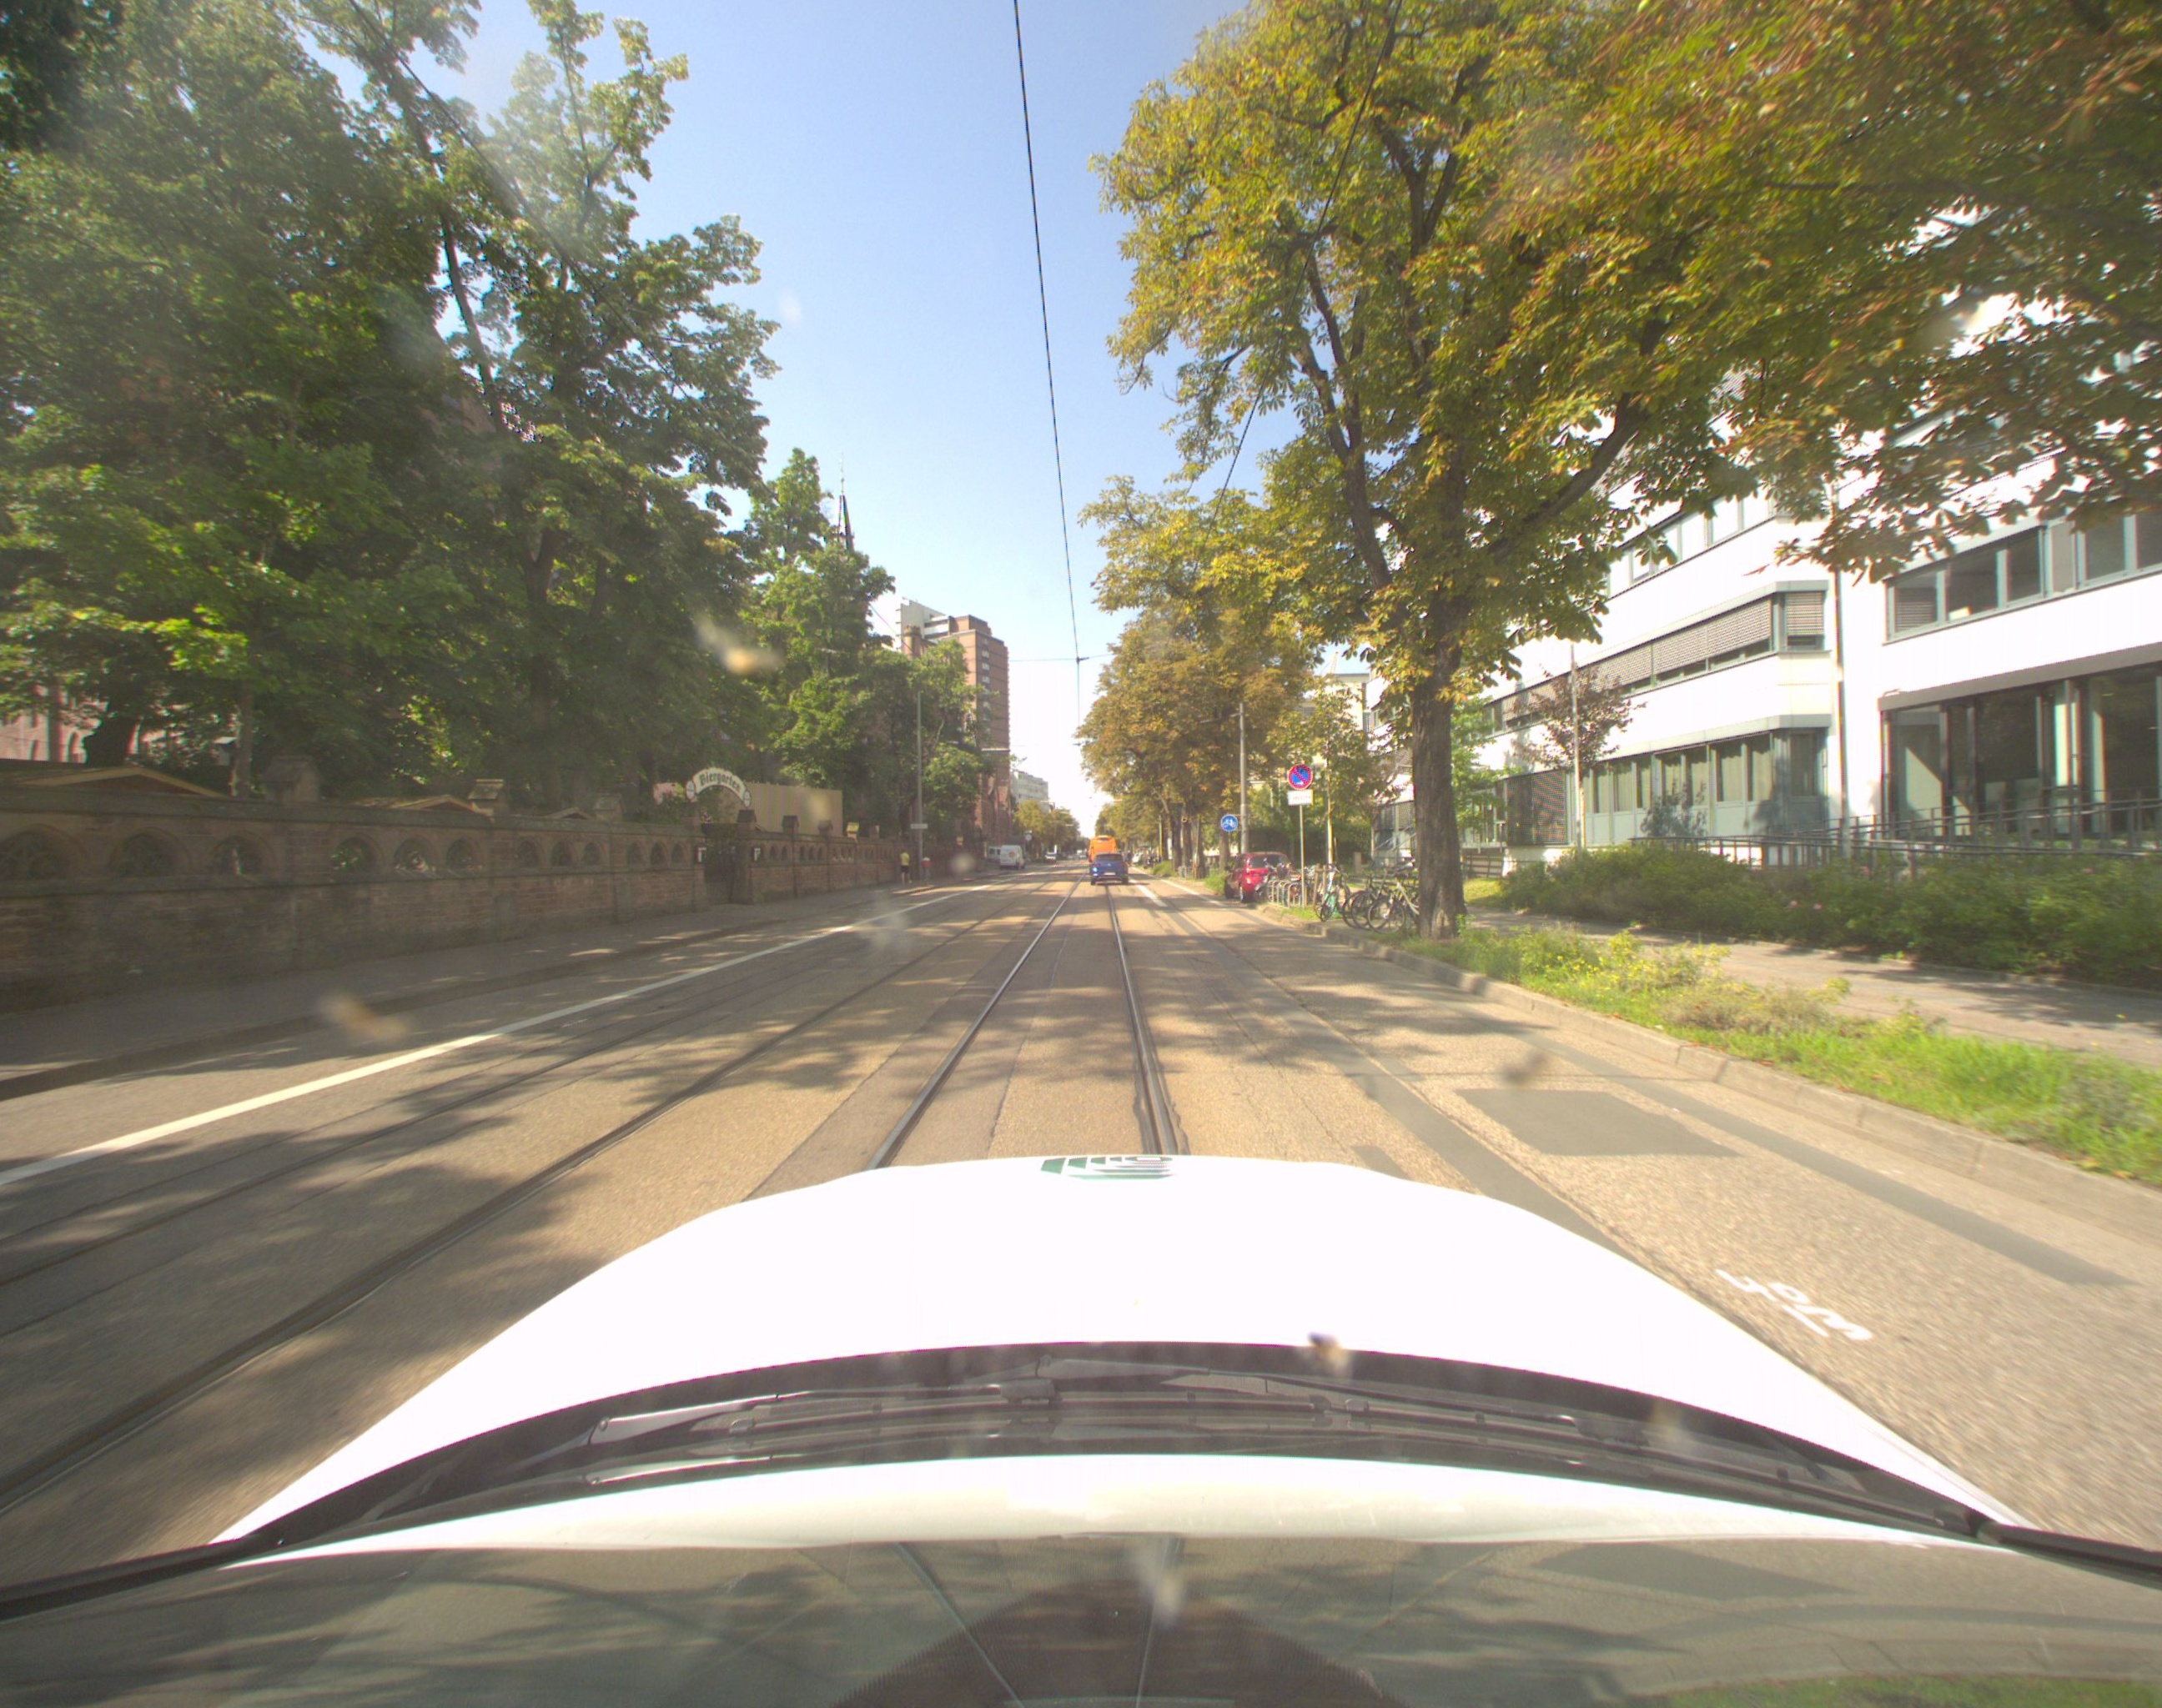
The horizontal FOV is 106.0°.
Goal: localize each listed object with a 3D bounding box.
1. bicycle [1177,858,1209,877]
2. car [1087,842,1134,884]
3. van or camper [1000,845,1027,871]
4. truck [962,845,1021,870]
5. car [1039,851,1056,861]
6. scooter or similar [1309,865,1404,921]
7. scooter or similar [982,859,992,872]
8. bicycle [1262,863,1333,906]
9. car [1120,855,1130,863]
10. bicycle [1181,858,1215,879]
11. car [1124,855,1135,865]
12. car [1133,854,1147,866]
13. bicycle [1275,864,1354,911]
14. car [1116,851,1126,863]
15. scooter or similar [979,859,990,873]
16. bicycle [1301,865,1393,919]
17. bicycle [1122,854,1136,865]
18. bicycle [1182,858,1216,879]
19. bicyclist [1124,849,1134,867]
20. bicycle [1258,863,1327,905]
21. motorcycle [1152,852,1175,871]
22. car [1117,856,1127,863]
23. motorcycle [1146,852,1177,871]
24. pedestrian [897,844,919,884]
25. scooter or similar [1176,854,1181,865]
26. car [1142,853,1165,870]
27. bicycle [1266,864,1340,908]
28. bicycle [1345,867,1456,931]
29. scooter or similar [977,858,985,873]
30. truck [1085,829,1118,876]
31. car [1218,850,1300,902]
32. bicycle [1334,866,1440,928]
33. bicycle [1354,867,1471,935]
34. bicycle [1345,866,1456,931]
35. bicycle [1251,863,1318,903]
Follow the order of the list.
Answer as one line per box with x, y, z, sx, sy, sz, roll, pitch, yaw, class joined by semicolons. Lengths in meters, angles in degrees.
6.428;0.787;46.892;1.765;1.050;0.540;-2;0;0;bicycle
1.422;0.434;40.078;2.128;1.858;5.569;-2;0;1;car
-7.243;0.387;87.500;2.104;2.675;5.959;-1;0;3;van or camper
-10.098;0.352;92.384;6.289;2.538;2.134;2;1;6;truck
-6.493;0.336;156.561;1.758;1.796;3.962;0;0;-29;car
5.716;0.806;16.937;1.765;1.071;0.540;-2;0;0;scooter or similar
-8.514;1.054;73.947;0.336;1.178;1.185;-1;0;26;scooter or similar
5.842;0.821;22.020;1.765;1.071;0.540;-2;0;0;bicycle
8.823;1.022;162.039;1.734;1.668;4.361;-1;0;0;car
6.388;0.779;44.412;1.765;1.050;0.540;-2;0;0;bicycle
8.224;1.071;138.847;1.736;1.556;4.218;-2;-1;2;car
7.838;0.818;108.912;1.653;1.481;4.218;-2;-1;2;car
5.746;0.816;20.108;1.765;1.071;0.540;-2;0;0;bicycle
9.431;0.700;193.158;1.987;2.755;5.760;-1;0;0;car
-8.496;1.046;71.640;0.336;1.178;1.185;-1;0;26;scooter or similar
5.710;0.808;17.525;1.765;1.071;0.540;-2;0;0;bicycle
5.073;0.578;86.259;1.396;1.134;4.001;-1;0;1;bicycle
6.328;0.778;43.735;1.765;1.050;0.540;-2;0;0;bicycle
5.107;0.407;86.270;1.028;1.812;1.016;-1;0;1;bicyclist
5.885;0.823;22.694;1.765;1.071;0.540;-2;0;0;bicycle
6.952;0.645;69.066;0.854;1.516;2.436;-1;0;-23;motorcycle
9.192;1.265;182.560;1.902;1.431;4.292;-1;0;0;car
6.645;0.644;67.369;2.423;1.516;0.858;-1;-1;39;motorcycle
-8.854;0.487;41.675;0.861;2.014;0.983;-1;0;-1;pedestrian
11.222;0.625;93.793;0.553;1.259;1.820;-1;0;4;scooter or similar
6.930;0.711;78.034;1.750;1.515;4.608;-2;0;0;car
5.772;0.819;21.210;1.765;1.071;0.540;-2;0;0;bicycle
5.754;0.798;14.703;1.765;1.071;0.540;-2;0;0;bicycle
-8.270;0.938;67.335;0.421;1.178;1.310;-1;0;-14;scooter or similar
1.479;-0.084;57.573;2.128;3.124;6.086;-2;0;1;truck
5.620;0.652;26.168;1.749;1.462;4.275;-2;0;1;car
5.736;0.800;15.304;1.765;1.071;0.540;-2;0;0;bicycle
5.690;0.796;14.007;1.765;1.071;0.540;-2;0;0;bicycle
5.765;0.798;14.725;1.765;1.071;0.540;-2;0;0;bicycle
5.842;0.826;23.469;1.765;1.071;0.540;-2;0;0;bicycle
